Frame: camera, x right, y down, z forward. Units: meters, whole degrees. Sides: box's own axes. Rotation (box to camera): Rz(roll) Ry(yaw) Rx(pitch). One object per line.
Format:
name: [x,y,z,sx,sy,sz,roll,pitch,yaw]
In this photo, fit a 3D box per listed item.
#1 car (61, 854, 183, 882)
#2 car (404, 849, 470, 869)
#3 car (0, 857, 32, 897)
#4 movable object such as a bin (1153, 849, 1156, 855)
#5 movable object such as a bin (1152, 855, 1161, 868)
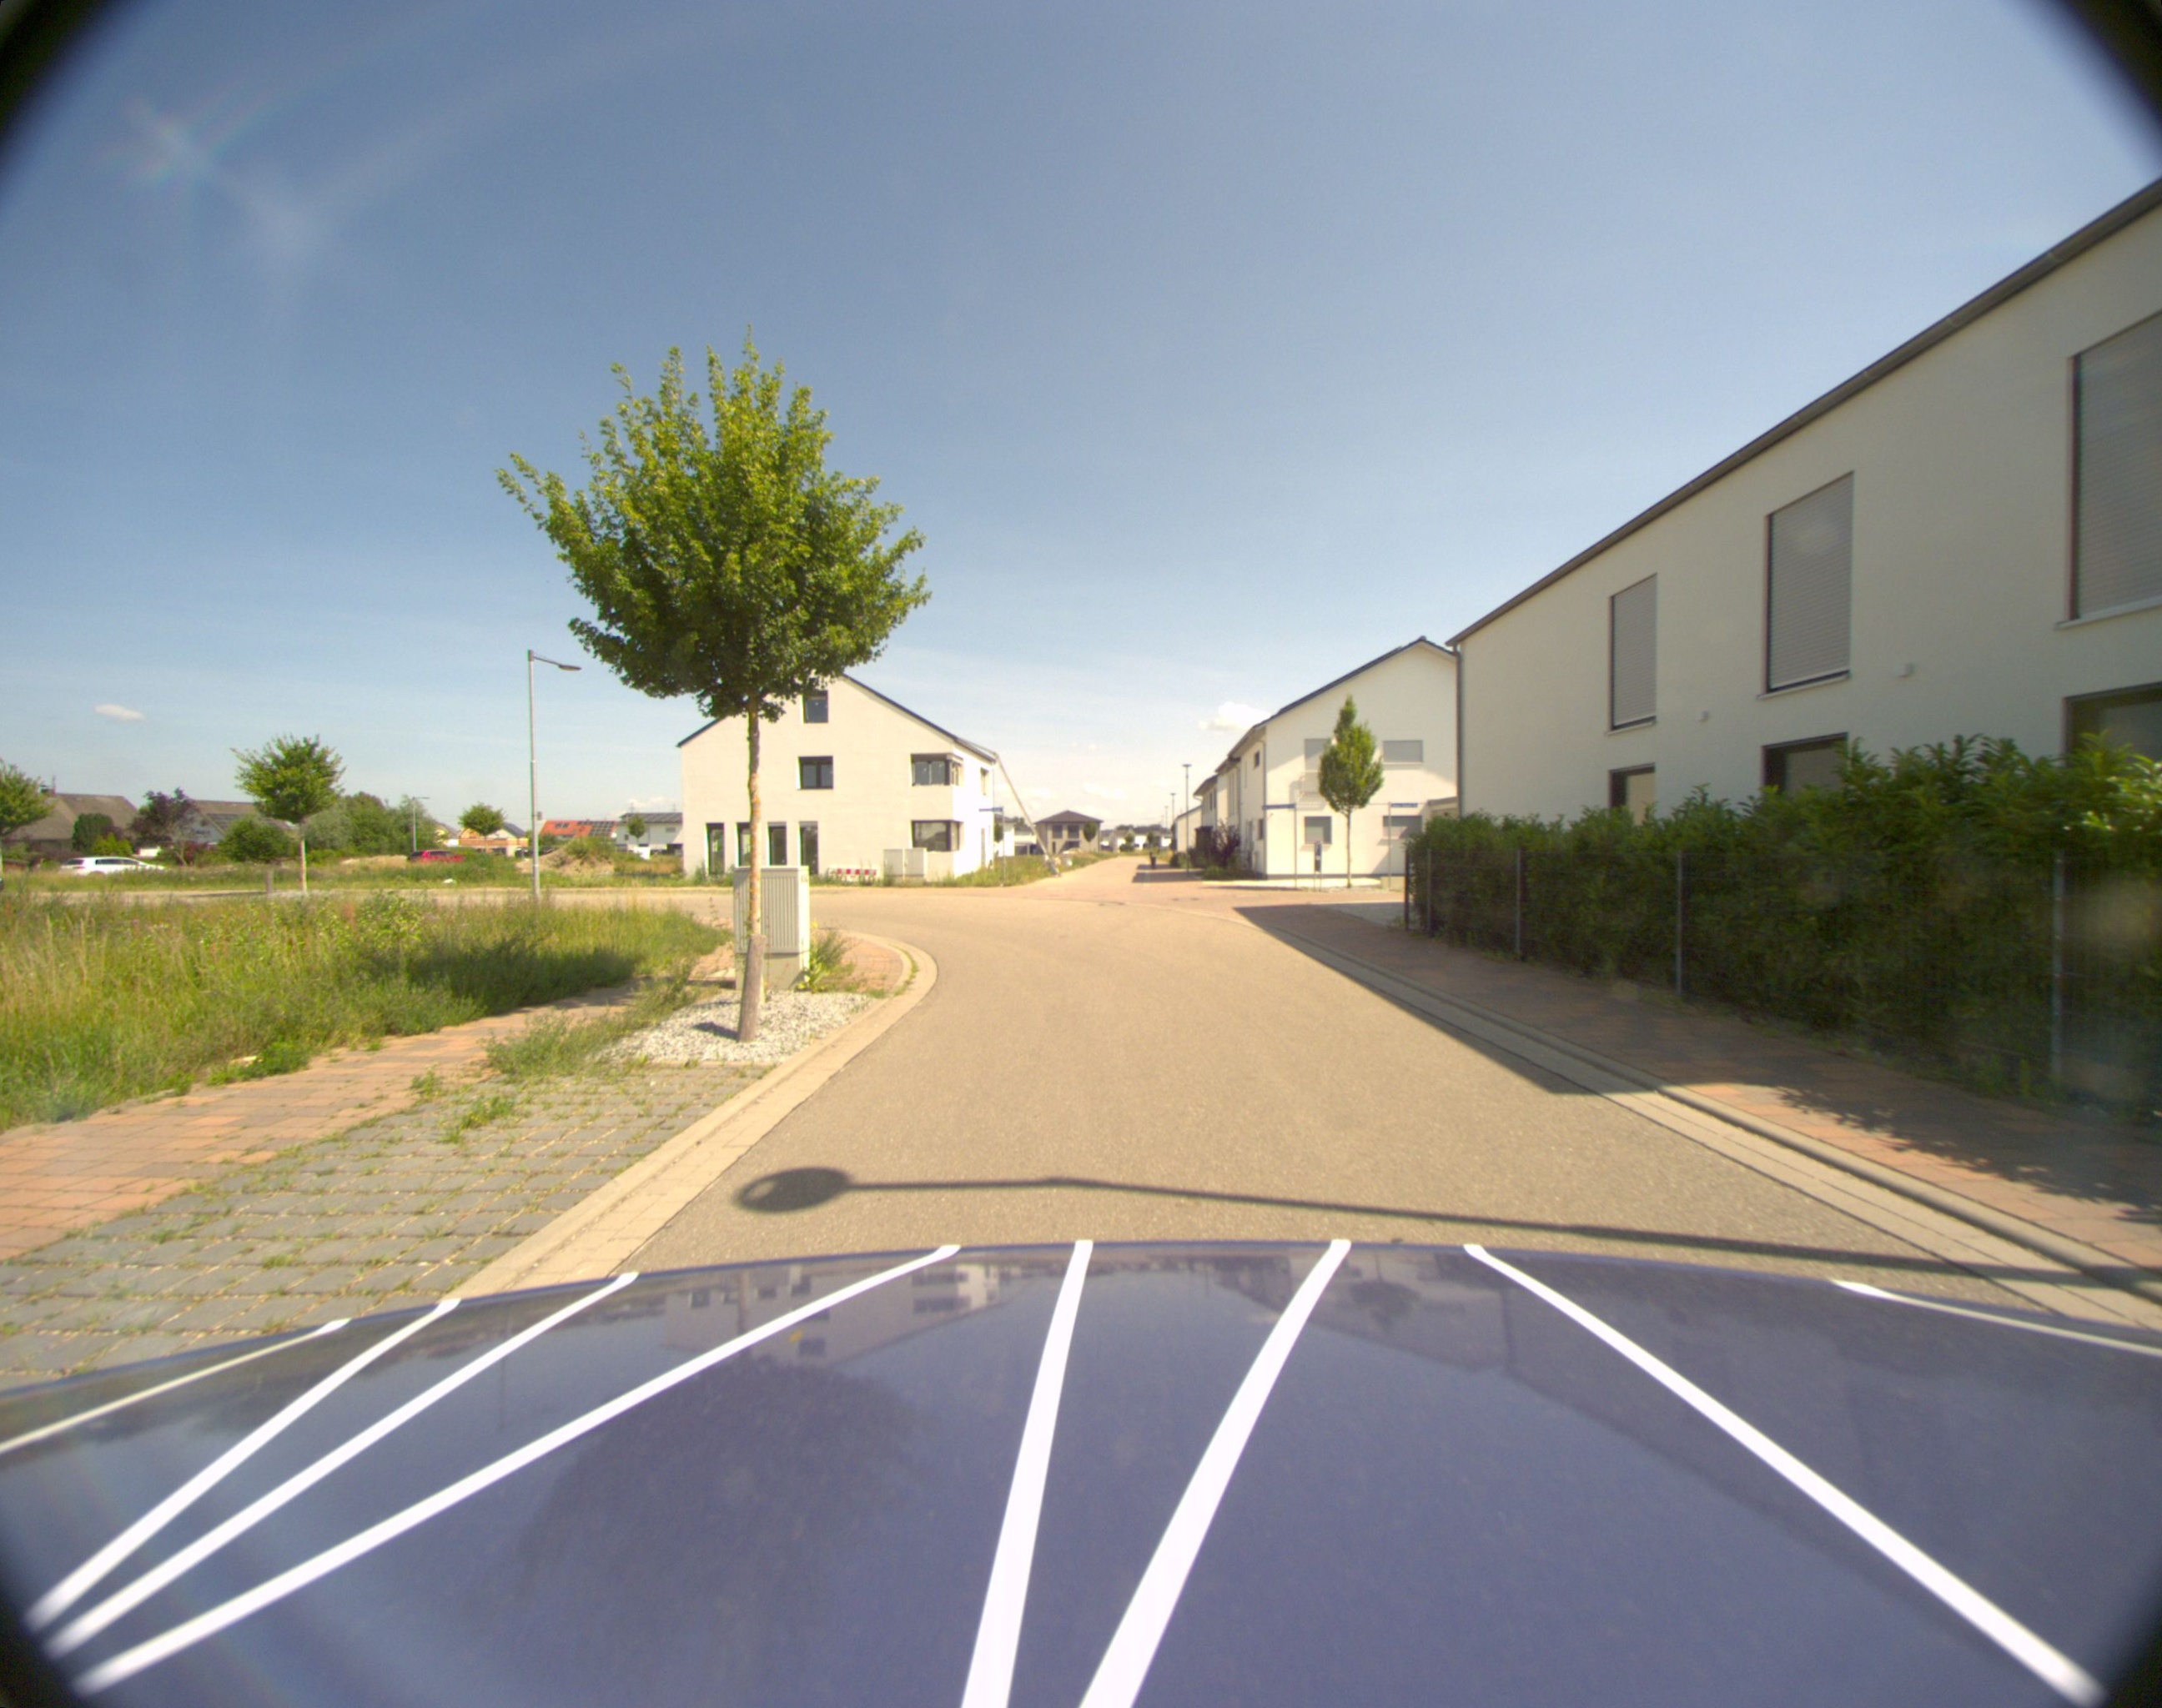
car: [-55.706,0.805,44.254,1.807,1.494,4.002,0,1,9]
car: [-53.612,0.378,63.354,1.807,1.607,4.001,0,1,5]
car: [-42.033,0.895,28.070,4.140,1.446,1.817,0,3,4]
movable object such as a bin: [11.881,-0.276,122.800,0.597,0.916,0.462,0,1,6]
movable object such as a bin: [5.160,0.512,51.827,0.597,0.916,0.462,0,1,6]
